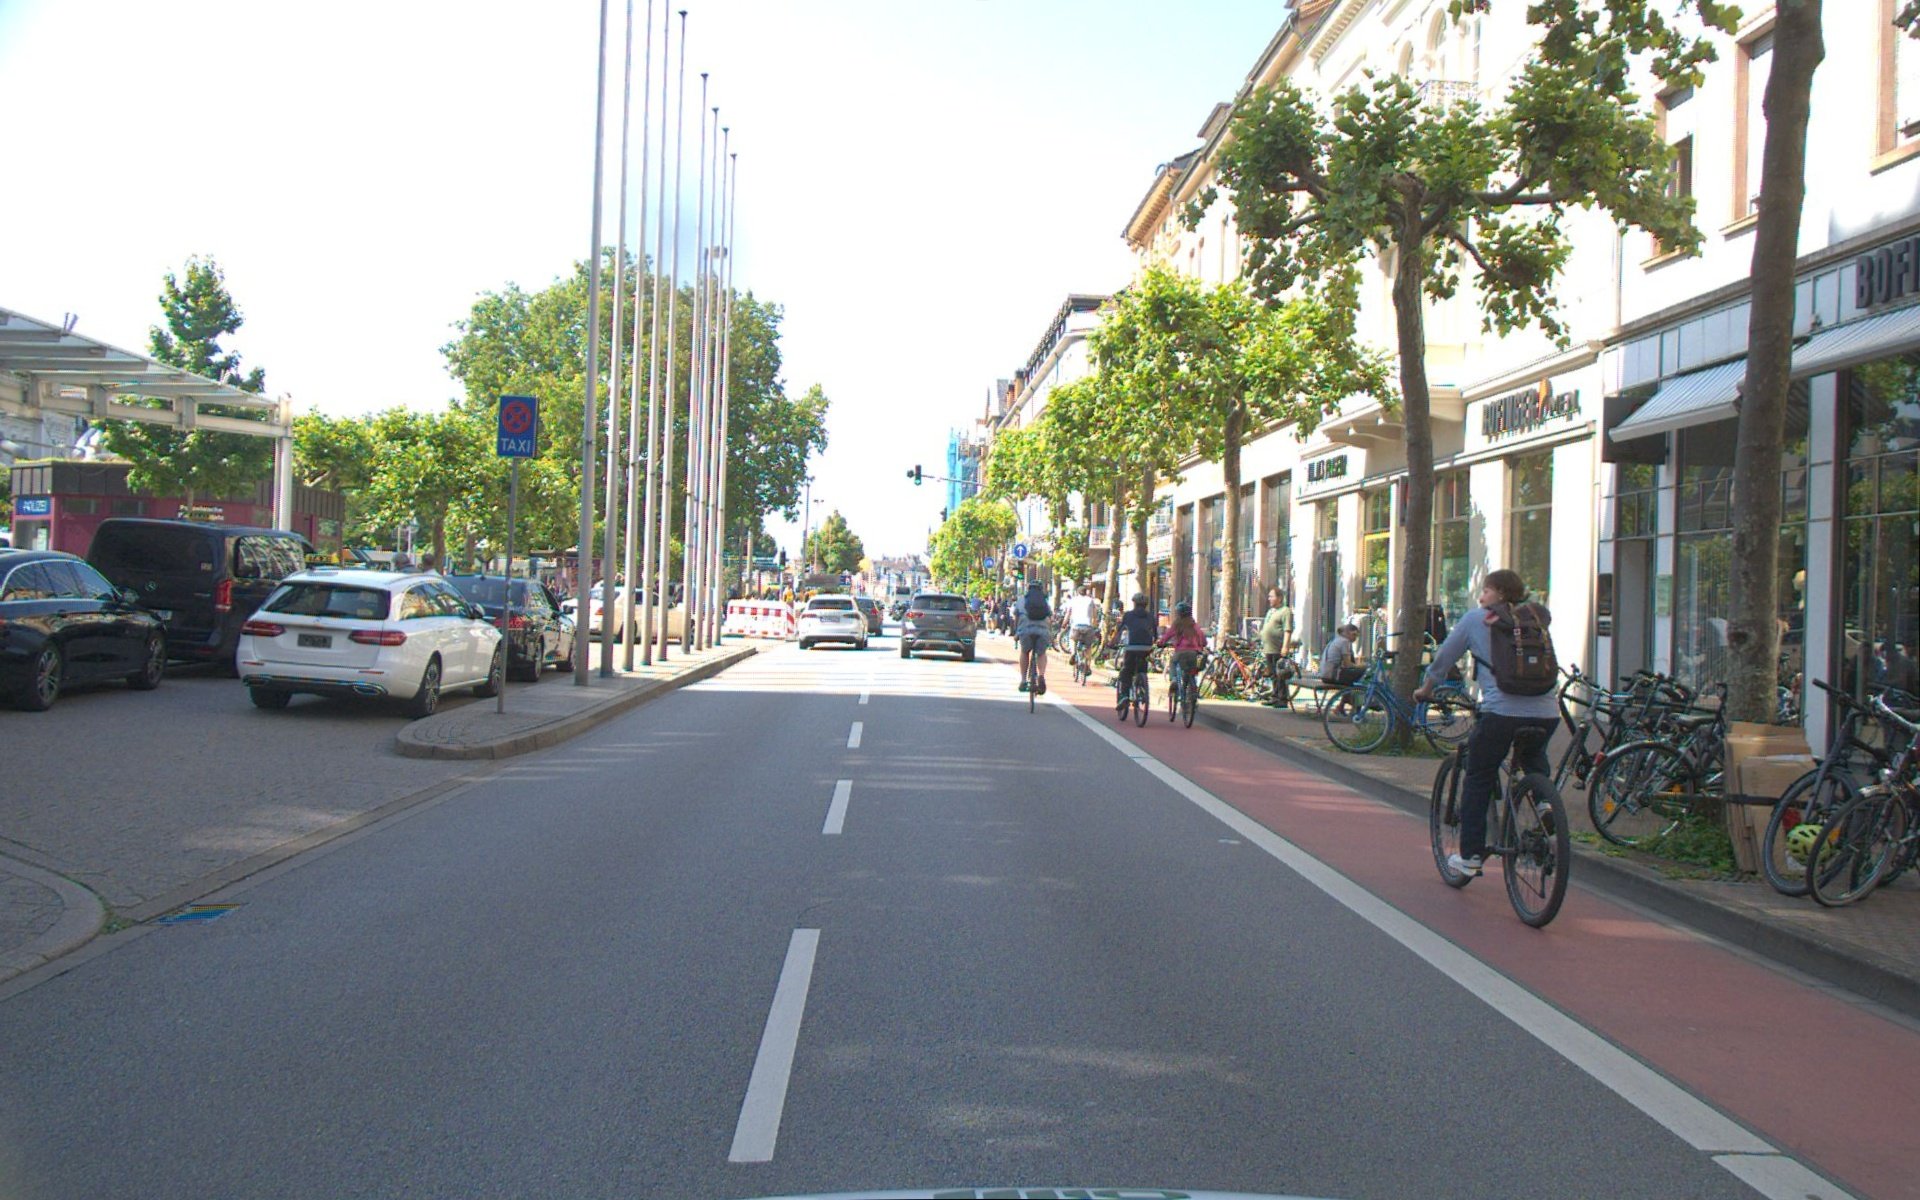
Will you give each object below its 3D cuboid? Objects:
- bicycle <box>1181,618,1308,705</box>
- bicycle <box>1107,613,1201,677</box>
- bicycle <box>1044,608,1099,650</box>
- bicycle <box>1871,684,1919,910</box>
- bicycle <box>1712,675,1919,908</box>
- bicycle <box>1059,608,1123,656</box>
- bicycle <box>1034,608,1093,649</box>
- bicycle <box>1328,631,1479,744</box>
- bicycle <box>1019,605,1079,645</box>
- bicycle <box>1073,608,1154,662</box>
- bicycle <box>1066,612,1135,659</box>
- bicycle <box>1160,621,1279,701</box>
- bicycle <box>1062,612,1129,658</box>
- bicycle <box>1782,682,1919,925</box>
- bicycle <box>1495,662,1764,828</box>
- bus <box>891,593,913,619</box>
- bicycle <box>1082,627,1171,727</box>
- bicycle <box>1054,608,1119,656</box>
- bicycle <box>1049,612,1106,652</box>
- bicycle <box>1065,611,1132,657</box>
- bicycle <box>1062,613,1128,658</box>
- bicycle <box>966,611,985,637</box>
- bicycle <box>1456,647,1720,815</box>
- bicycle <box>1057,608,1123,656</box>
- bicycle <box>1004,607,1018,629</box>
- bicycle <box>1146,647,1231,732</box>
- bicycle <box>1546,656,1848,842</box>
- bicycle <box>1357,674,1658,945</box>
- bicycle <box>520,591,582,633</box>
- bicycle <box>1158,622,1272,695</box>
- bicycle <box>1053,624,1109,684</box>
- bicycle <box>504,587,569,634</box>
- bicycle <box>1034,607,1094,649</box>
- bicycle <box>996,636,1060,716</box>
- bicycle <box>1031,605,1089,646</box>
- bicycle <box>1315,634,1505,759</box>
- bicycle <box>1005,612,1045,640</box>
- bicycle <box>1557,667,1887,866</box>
[{"bbox_3d":[4.309,0.921,25.138,1.801,1.218,0.674,2,0,5],"label":"bicycle"},{"bbox_3d":[3.975,0.919,33.957,1.802,1.206,0.670,3,-1,2],"label":"bicycle"},{"bbox_3d":[3.413,0.882,50.515,1.615,1.222,0.474,2,0,0],"label":"bicycle"},{"bbox_3d":[5.612,1.044,9.089,1.828,1.147,0.442,2,-2,-40],"label":"bicycle"},{"bbox_3d":[4.879,0.998,9.106,1.827,1.147,0.586,2,-2,-39],"label":"bicycle"},{"bbox_3d":[3.623,0.883,45.791,1.693,1.238,0.477,2,0,0],"label":"bicycle"},{"bbox_3d":[3.269,0.887,52.235,1.806,1.222,0.608,2,0,0],"label":"bicycle"},{"bbox_3d":[5.053,0.998,18.809,1.756,1.218,0.572,3,-1,-30],"label":"bicycle"},{"bbox_3d":[3.058,0.863,56.641,1.905,1.279,0.700,2,0,-22],"label":"bicycle"},{"bbox_3d":[3.802,0.858,41.053,1.892,1.270,0.736,2,0,0],"label":"bicycle"},{"bbox_3d":[3.606,0.901,42.526,1.693,1.128,0.736,2,0,0],"label":"bicycle"},{"bbox_3d":[4.101,0.958,26.195,1.801,1.146,0.498,3,-1,8],"label":"bicycle"},{"bbox_3d":[3.579,0.922,43.791,1.693,1.128,0.402,2,0,0],"label":"bicycle"},{"bbox_3d":[5.038,1.012,8.084,1.803,1.147,0.448,1,-1,26],"label":"bicycle"},{"bbox_3d":[4.924,1.064,12.179,1.808,1.112,0.563,3,-1,-13],"label":"bicycle"},{"bbox_3d":[-8.511,0.892,241.113,2.935,3.657,11.736,2,-1,-3],"label":"bus"},{"bbox_3d":[2.093,0.951,21.054,0.685,1.146,2.079,3,0,-6],"label":"bicycle"},{"bbox_3d":[3.462,0.872,45.293,1.693,1.238,0.477,2,0,0],"label":"bicycle"},{"bbox_3d":[3.480,0.938,48.995,1.615,1.114,0.607,2,0,0],"label":"bicycle"},{"bbox_3d":[3.621,0.893,43.379,1.693,1.128,0.402,2,0,0],"label":"bicycle"},{"bbox_3d":[3.595,0.940,44.212,1.693,1.128,0.477,2,0,0],"label":"bicycle"},{"bbox_3d":[0.637,0.975,67.578,0.634,1.015,2.030,2,0,-3],"label":"bicycle"},{"bbox_3d":[4.807,0.998,12.673,1.808,1.146,0.630,4,-1,-13],"label":"bicycle"},{"bbox_3d":[3.500,0.861,44.569,1.693,1.238,0.477,2,0,0],"label":"bicycle"},{"bbox_3d":[2.810,0.986,90.621,0.391,1.133,1.426,1,1,18],"label":"bicycle"},{"bbox_3d":[2.865,1.101,20.915,0.588,0.942,2.085,0,0,-6],"label":"bicycle"},{"bbox_3d":[5.093,1.024,11.445,1.810,1.146,0.762,4,-2,-16],"label":"bicycle"},{"bbox_3d":[2.817,1.028,8.778,0.685,1.146,2.079,3,0,-6],"label":"bicycle"},{"bbox_3d":[-12.590,0.374,50.935,1.747,1.236,0.662,2,0,-6],"label":"bicycle"},{"bbox_3d":[4.280,0.978,27.859,1.802,1.116,0.794,2,0,2],"label":"bicycle"},{"bbox_3d":[2.241,0.989,30.839,0.759,1.023,2.328,1,0,-2],"label":"bicycle"},{"bbox_3d":[-12.686,0.308,49.542,1.747,1.331,0.662,2,0,-6],"label":"bicycle"},{"bbox_3d":[3.255,0.879,51.728,1.806,1.222,0.544,2,0,0],"label":"bicycle"},{"bbox_3d":[0.888,0.986,22.086,0.618,0.997,2.087,2,-1,-3],"label":"bicycle"},{"bbox_3d":[3.385,0.866,56.058,1.796,1.331,0.684,2,0,-23],"label":"bicycle"},{"bbox_3d":[4.654,0.999,17.123,1.807,1.146,0.496,4,1,-11],"label":"bicycle"},{"bbox_3d":[2.603,1.023,66.192,0.595,1.101,1.815,0,0,-37],"label":"bicycle"},{"bbox_3d":[4.796,1.039,10.457,1.803,1.112,0.564,3,-1,-3],"label":"bicycle"}]
